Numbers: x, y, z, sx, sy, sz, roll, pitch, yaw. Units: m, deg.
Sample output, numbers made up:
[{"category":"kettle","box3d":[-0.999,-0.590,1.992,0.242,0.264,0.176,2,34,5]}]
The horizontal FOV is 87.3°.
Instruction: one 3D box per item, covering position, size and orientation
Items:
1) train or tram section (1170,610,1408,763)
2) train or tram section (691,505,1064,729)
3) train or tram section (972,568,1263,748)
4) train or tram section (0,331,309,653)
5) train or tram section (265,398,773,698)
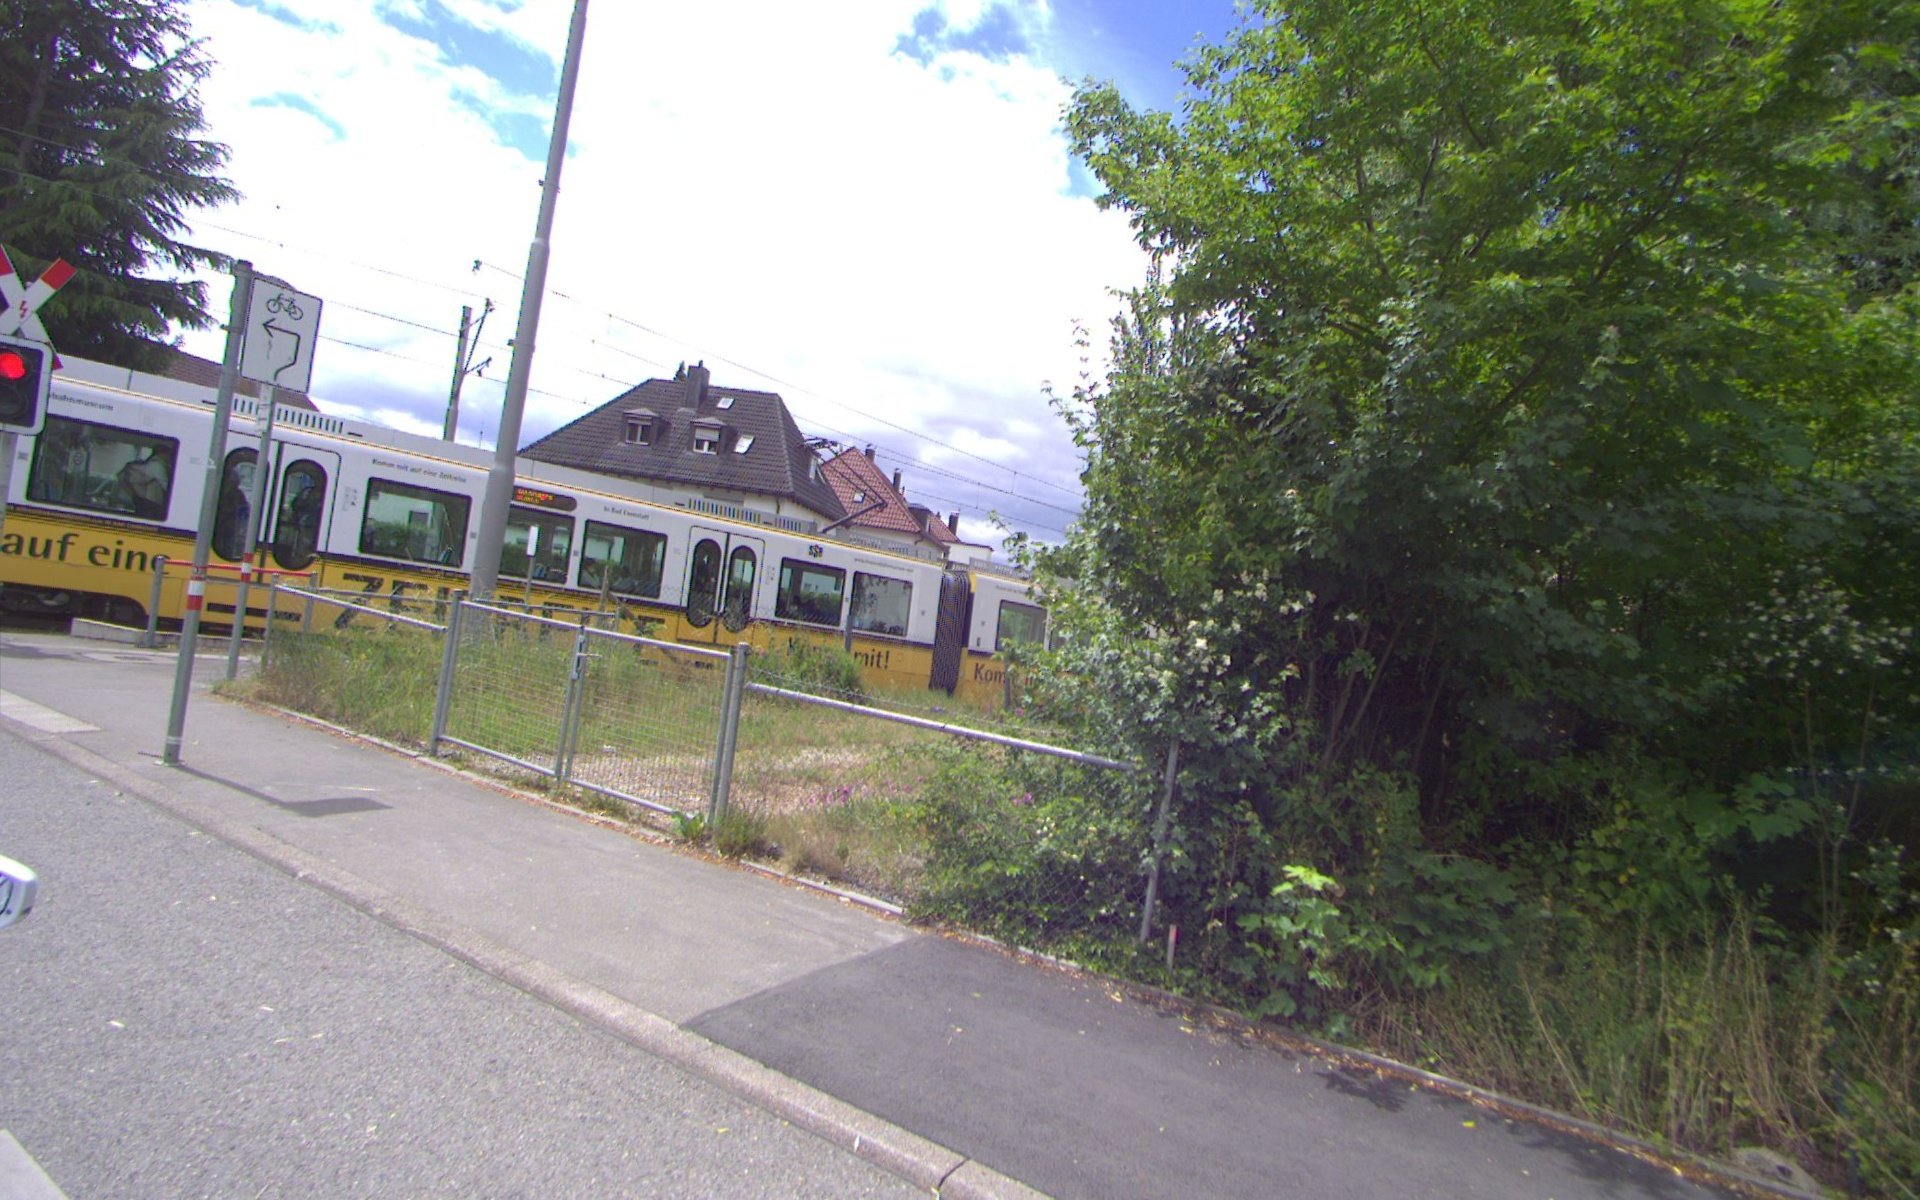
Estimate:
[{"category":"train or tram section","box3d":[10.487,2.794,31.685,7.655,3.762,2.842,10,-3,-36]},{"category":"train or tram section","box3d":[-1.657,0.546,22.757,7.655,3.762,2.842,10,-3,-36]},{"category":"train or tram section","box3d":[4.427,1.672,27.237,7.655,3.762,2.842,10,-3,-36]},{"category":"train or tram section","box3d":[-13.761,-1.726,13.775,7.655,3.762,2.842,10,-3,-36]},{"category":"train or tram section","box3d":[-7.716,-0.623,18.267,7.655,3.762,2.842,10,-3,-36]}]
